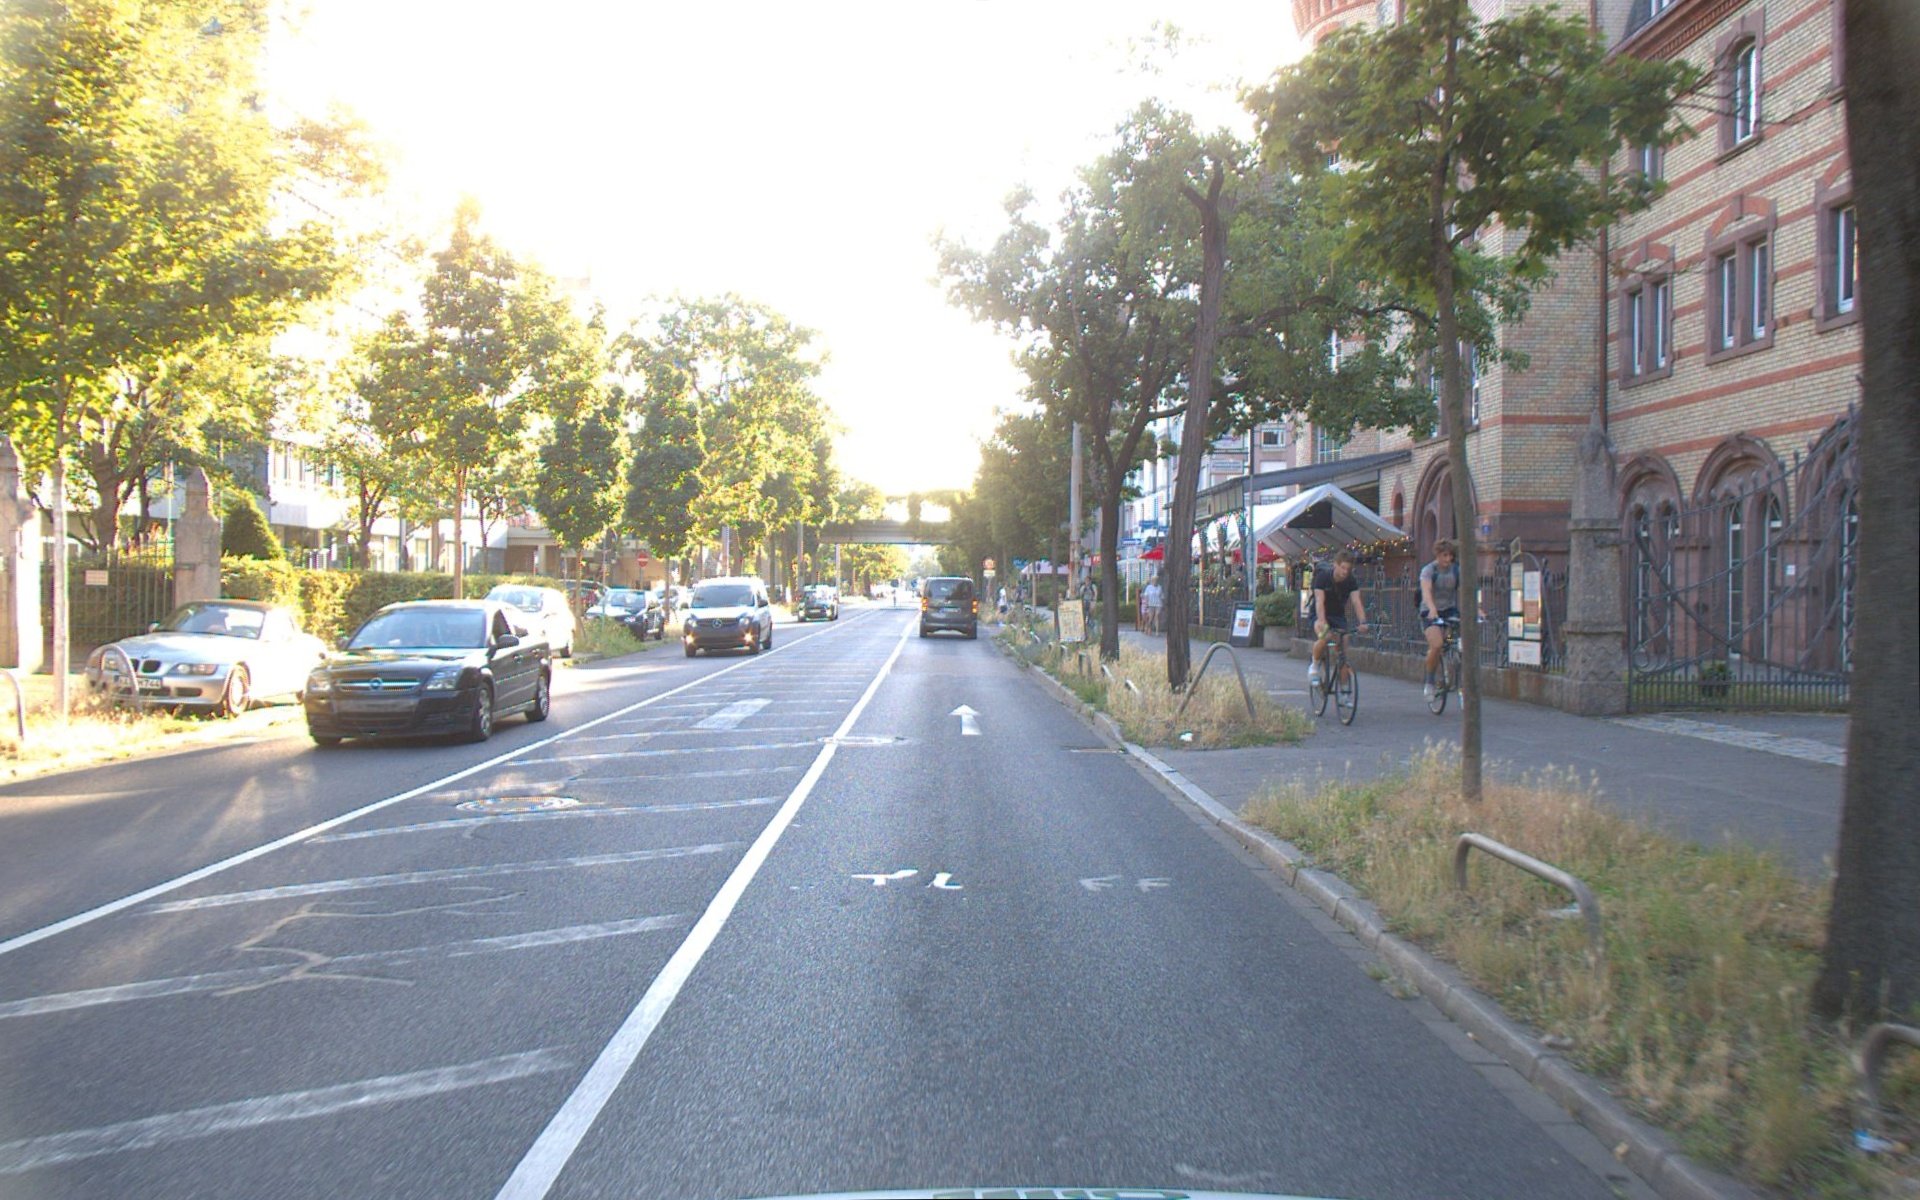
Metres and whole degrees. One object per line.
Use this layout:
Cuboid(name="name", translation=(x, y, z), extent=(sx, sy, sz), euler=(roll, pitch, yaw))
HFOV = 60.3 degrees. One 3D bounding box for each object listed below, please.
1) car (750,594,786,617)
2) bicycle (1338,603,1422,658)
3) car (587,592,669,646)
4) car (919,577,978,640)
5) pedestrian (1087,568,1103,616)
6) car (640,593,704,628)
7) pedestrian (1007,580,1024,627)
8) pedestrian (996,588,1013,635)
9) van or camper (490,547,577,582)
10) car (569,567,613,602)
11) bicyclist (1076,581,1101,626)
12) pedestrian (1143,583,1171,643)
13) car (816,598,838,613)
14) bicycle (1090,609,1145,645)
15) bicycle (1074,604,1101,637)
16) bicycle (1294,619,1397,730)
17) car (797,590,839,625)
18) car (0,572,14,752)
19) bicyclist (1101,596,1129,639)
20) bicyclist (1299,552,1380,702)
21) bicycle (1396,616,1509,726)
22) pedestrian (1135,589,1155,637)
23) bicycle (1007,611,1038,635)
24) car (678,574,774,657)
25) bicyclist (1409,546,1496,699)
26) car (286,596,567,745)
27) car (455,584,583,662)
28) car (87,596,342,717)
Cuboid(name="car", translation=(-13.062, 0.387, 112.729), extent=(1.953, 1.439, 4.236), euler=(3, 0, -1))
Cuboid(name="bicycle", translation=(7.909, 0.564, 31.199), extent=(1.415, 0.963, 0.534), euler=(3, 0, 0))
Cuboid(name="car", translation=(-9.450, 0.512, 47.299), extent=(1.605, 1.410, 3.998), euler=(3, 0, -2))
Cuboid(name="car", translation=(-0.351, 0.260, 53.578), extent=(1.849, 1.958, 3.839), euler=(0, 0, 0))
Cuboid(name="pedestrian", translation=(7.521, -0.448, 91.860), extent=(0.701, 2.583, 0.824), euler=(2, 0, -1))
Cuboid(name="car", translation=(-11.920, 0.424, 68.761), extent=(1.953, 1.333, 4.065), euler=(3, 0, -1))
Cuboid(name="pedestrian", translation=(2.307, 0.150, 68.938), extent=(0.496, 1.921, 0.543), euler=(3, 0, -16))
Cuboid(name="pedestrian", translation=(1.854, 0.487, 69.423), extent=(0.496, 1.921, 0.543), euler=(3, 0, -16))
Cuboid(name="van or camper", translation=(-34.967, -2.903, 135.839), extent=(6.432, 2.566, 2.448), euler=(3, 0, -3))
Cuboid(name="car", translation=(-26.324, -1.066, 118.127), extent=(1.953, 2.348, 5.244), euler=(3, 0, -1))
Cuboid(name="bicyclist", translation=(3.706, 0.089, 47.873), extent=(0.573, 1.258, 1.112), euler=(3, 0, -1))
Cuboid(name="pedestrian", translation=(5.539, 0.366, 46.432), extent=(0.631, 1.661, 0.656), euler=(2, 0, -1))
Cuboid(name="car", translation=(-14.346, 0.586, 178.725), extent=(1.953, 1.439, 4.236), euler=(3, 0, -1))
Cuboid(name="bicycle", translation=(5.895, 1.018, 62.022), extent=(1.943, 1.248, 0.547), euler=(3, 0, -7))
Cuboid(name="bicycle", translation=(3.690, 0.584, 47.833), extent=(0.567, 0.913, 1.987), euler=(3, 0, 0))
Cuboid(name="bicycle", translation=(4.060, 0.756, 17.555), extent=(0.533, 1.058, 2.088), euler=(3, 0, -1))
Cuboid(name="car", translation=(-6.609, 0.349, 77.090), extent=(1.645, 1.557, 3.999), euler=(-1, 0, -1))
Cuboid(name="car", translation=(-9.120, 0.508, 12.317), extent=(1.711, 1.561, 4.301), euler=(3, 0, -2))
Cuboid(name="bicyclist", translation=(5.813, 0.661, 62.011), extent=(0.917, 1.585, 0.545), euler=(3, 0, -7))
Cuboid(name="bicyclist", translation=(4.075, 0.283, 17.808), extent=(0.583, 1.559, 0.893), euler=(2, 0, -1))
Cuboid(name="bicycle", translation=(5.207, 0.722, 17.617), extent=(0.507, 1.058, 2.088), euler=(3, 0, -1))
Cuboid(name="pedestrian", translation=(5.342, 0.379, 47.750), extent=(0.457, 1.374, 0.530), euler=(2, 0, -1))
Cuboid(name="bicycle", translation=(2.637, 0.972, 69.700), extent=(0.580, 0.913, 1.975), euler=(3, 0, -20))
Cuboid(name="car", translation=(-5.583, 0.356, 39.912), extent=(1.796, 1.885, 4.472), euler=(0, 0, -2))
Cuboid(name="bicyclist", translation=(5.224, 0.233, 17.583), extent=(0.583, 1.559, 0.893), euler=(2, 0, -1))
Cuboid(name="car", translation=(-5.645, 0.674, 18.076), extent=(1.723, 1.410, 4.304), euler=(0, 0, -1))
Cuboid(name="car", translation=(-9.232, 0.458, 34.914), extent=(1.663, 1.477, 3.998), euler=(3, 0, -2))
Cuboid(name="car", translation=(-8.931, 0.625, 20.130), extent=(1.505, 1.270, 3.612), euler=(3, 0, -2))
